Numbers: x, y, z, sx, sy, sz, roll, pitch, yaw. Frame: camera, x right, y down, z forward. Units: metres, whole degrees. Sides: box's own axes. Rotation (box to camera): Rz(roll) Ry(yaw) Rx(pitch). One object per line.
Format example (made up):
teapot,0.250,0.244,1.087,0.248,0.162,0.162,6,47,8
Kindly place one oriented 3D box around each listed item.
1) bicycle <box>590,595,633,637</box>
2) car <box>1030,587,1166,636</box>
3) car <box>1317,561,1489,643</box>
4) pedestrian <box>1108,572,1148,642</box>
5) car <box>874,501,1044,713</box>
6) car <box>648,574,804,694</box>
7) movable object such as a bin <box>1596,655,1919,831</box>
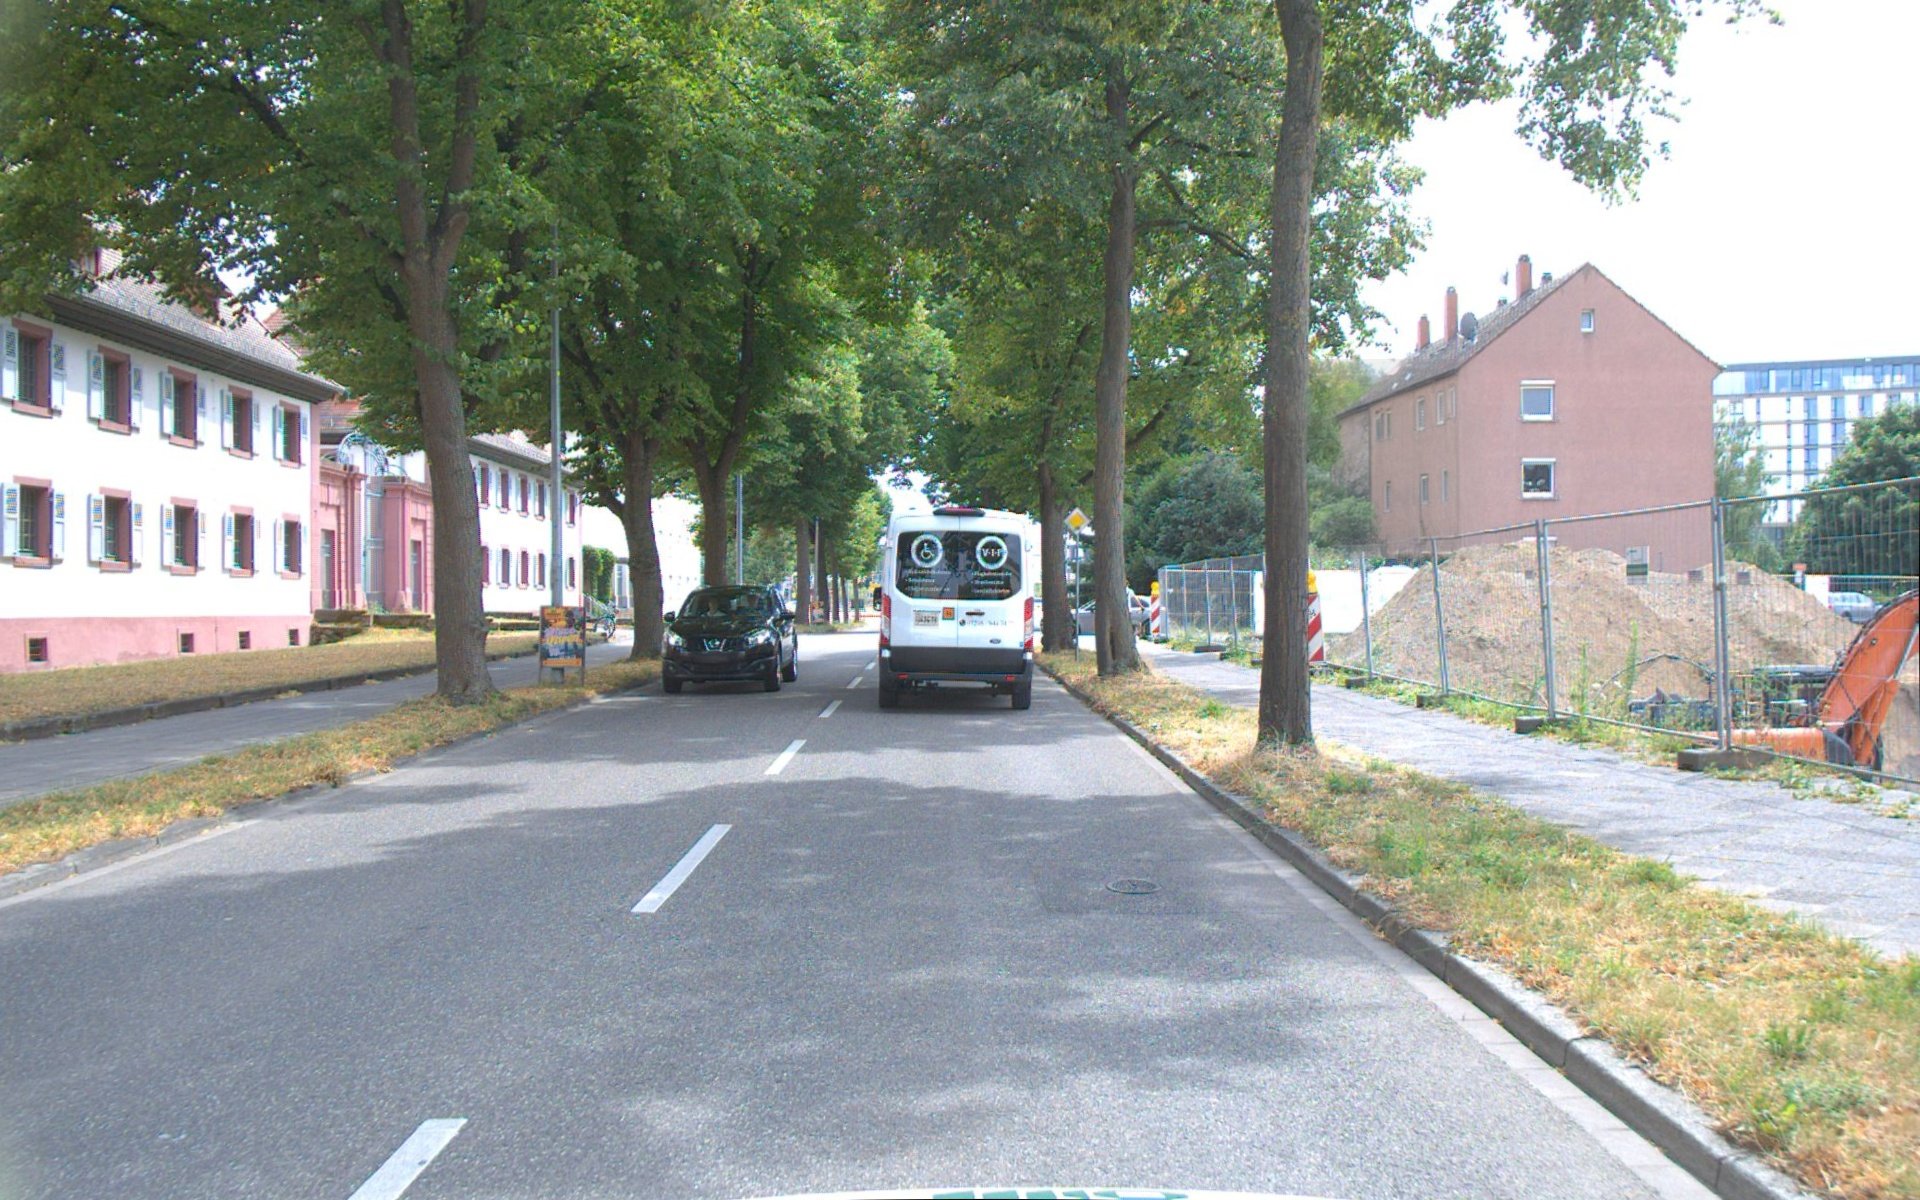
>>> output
bicycle,-9.825,0.438,46.667,0.708,1.114,2.225,3,0,-1
car,4.494,0.409,54.414,4.281,1.468,2.011,-1,-2,0
car,15.355,0.051,57.552,5.359,2.678,2.336,-1,2,1
pedestrian,4.567,0.188,44.969,0.864,1.846,0.889,-2,-1,18
car,-0.109,0.063,22.214,2.022,2.584,3.997,0,1,-4
car,-3.597,0.472,26.138,1.735,1.688,4.258,-2,1,1
movable object such as a bin,13.591,2.397,28.302,4.583,2.635,3.135,-2,0,13
